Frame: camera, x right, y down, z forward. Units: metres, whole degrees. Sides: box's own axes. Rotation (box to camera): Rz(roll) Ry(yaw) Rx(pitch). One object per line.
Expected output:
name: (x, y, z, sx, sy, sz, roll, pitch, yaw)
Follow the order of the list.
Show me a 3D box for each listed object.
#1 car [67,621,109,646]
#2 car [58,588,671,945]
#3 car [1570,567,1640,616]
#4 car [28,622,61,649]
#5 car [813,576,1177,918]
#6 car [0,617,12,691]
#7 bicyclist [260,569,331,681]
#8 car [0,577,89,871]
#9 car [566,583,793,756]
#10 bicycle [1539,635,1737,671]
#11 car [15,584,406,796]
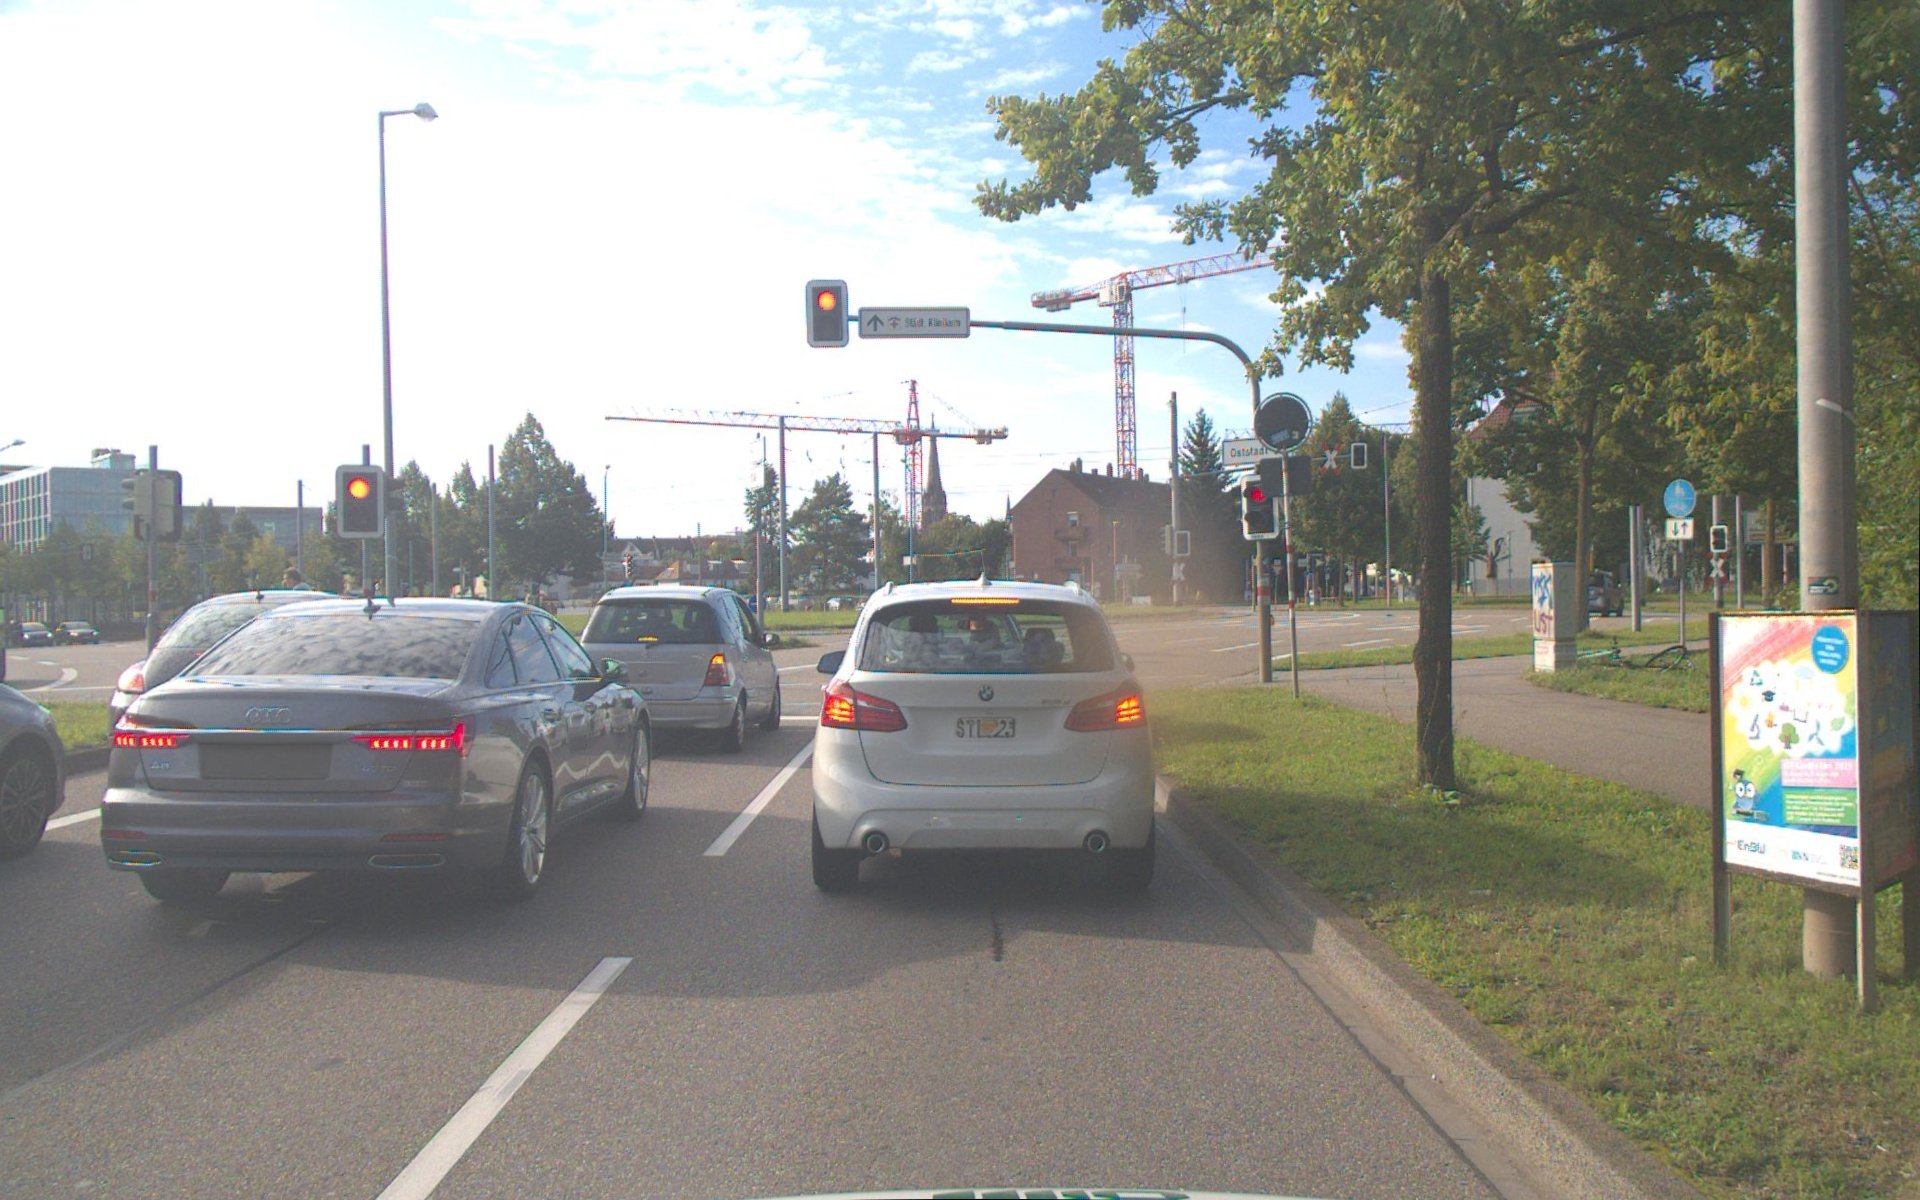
car: (-54.649, 2.079, 103.640, 1.605, 1.490, 3.678, -2, 1, -39)
car: (-2.923, 0.713, 9.322, 1.851, 1.509, 4.612, 0, 0, -1)
car: (22.771, -0.332, 58.302, 1.543, 1.601, 3.186, 0, 2, 36)
car: (-54.671, 2.118, 98.800, 1.574, 1.439, 3.636, -3, -1, -28)
car: (0.131, 0.675, 9.733, 1.694, 1.585, 4.057, 0, 0, -1)
car: (-19.429, 1.088, 31.582, 1.877, 1.434, 4.173, -3, 0, -25)
bicyclist: (-9.478, 0.351, 23.615, 0.835, 1.553, 0.737, -1, 0, -17)
car: (-6.024, 0.674, 7.834, 1.694, 1.586, 4.018, 0, 0, -1)
car: (-2.773, 0.629, 17.188, 1.694, 1.585, 4.057, 0, 0, -1)
bicycle: (9.469, 0.726, 23.252, 1.382, 0.392, 2.569, -2, 0, -12)
car: (-6.137, 0.657, 14.055, 1.646, 1.549, 3.809, 0, 0, -1)
